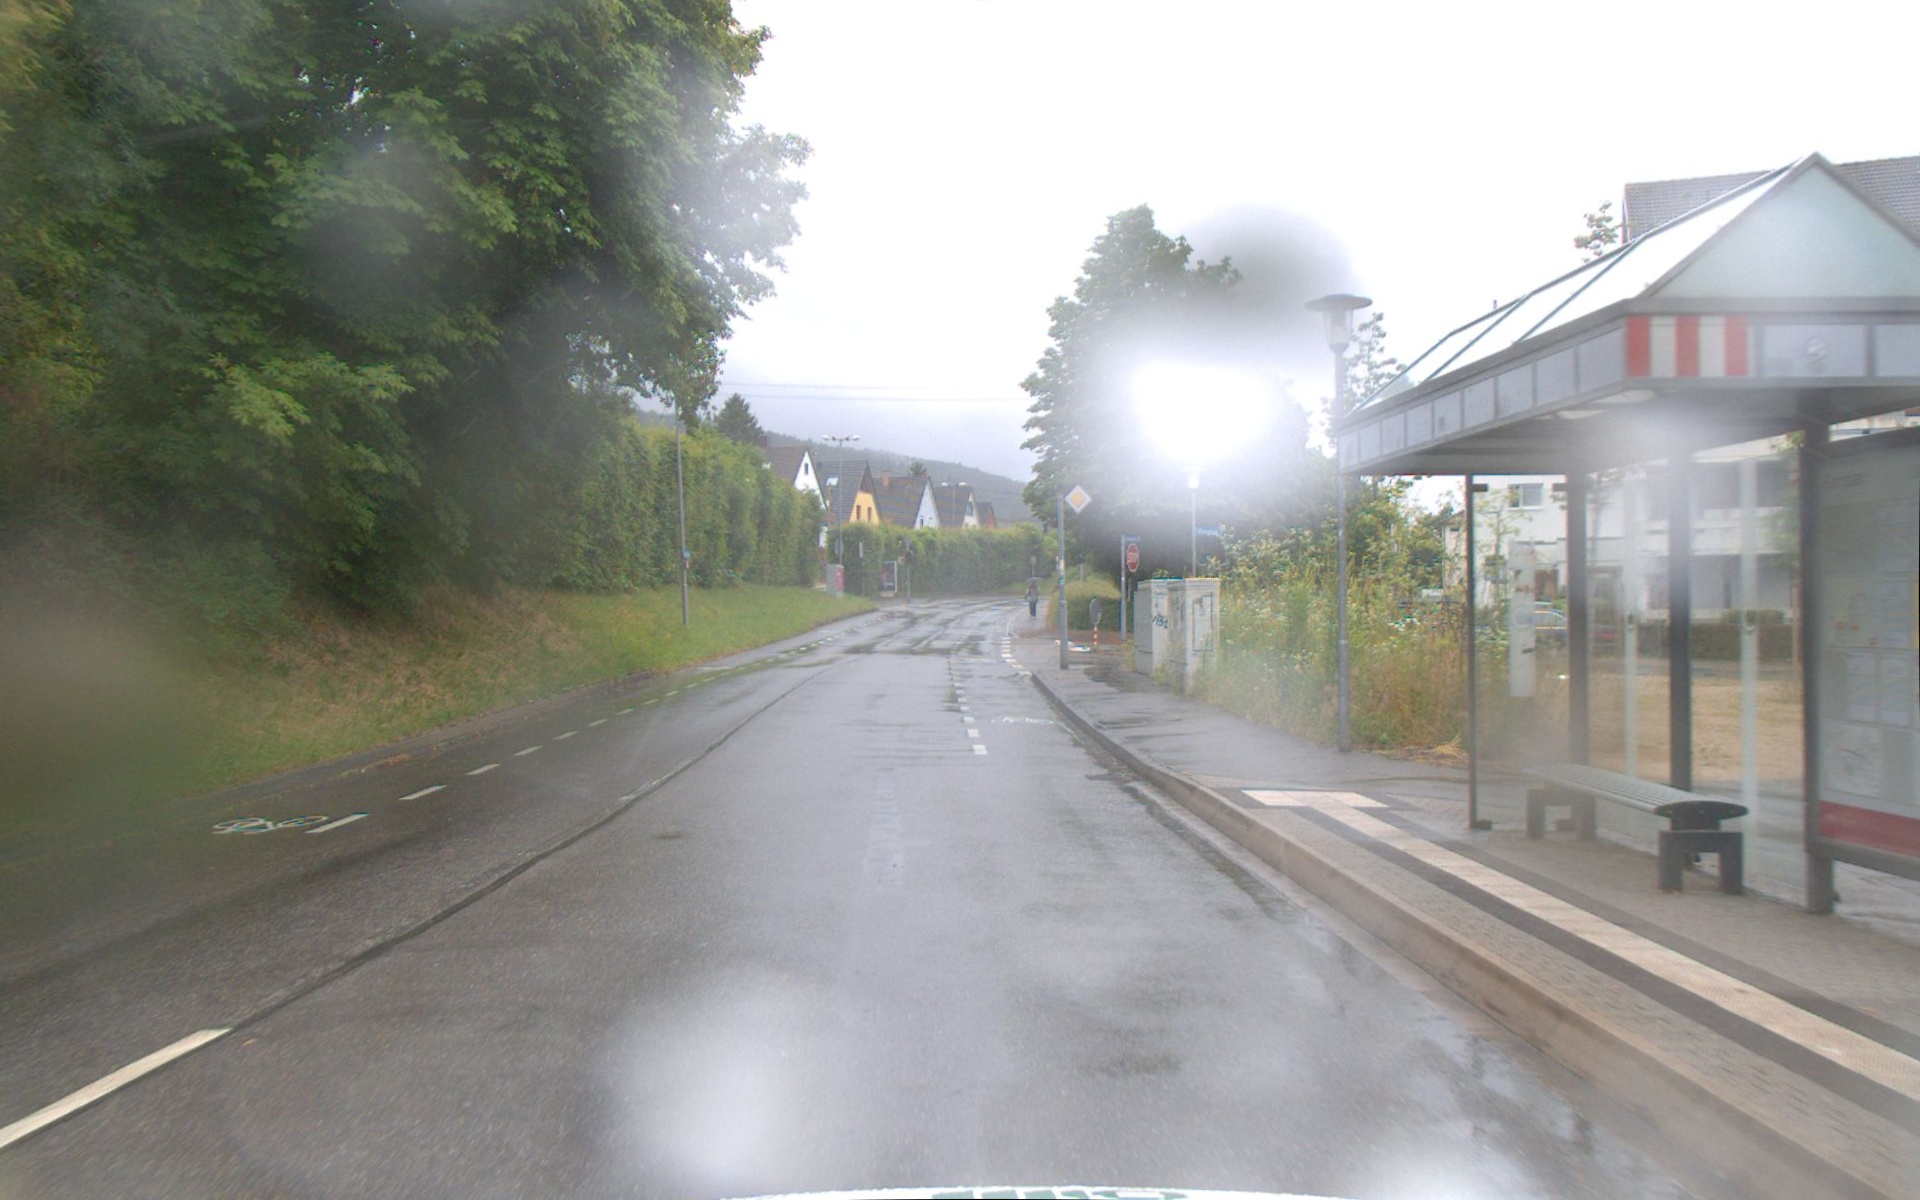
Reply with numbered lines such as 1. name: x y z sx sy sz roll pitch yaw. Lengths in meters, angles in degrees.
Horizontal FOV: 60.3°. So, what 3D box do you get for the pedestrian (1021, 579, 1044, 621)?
1. pedestrian: 3.012 -0.017 69.076 0.900 1.704 1.057 -2 0 3
